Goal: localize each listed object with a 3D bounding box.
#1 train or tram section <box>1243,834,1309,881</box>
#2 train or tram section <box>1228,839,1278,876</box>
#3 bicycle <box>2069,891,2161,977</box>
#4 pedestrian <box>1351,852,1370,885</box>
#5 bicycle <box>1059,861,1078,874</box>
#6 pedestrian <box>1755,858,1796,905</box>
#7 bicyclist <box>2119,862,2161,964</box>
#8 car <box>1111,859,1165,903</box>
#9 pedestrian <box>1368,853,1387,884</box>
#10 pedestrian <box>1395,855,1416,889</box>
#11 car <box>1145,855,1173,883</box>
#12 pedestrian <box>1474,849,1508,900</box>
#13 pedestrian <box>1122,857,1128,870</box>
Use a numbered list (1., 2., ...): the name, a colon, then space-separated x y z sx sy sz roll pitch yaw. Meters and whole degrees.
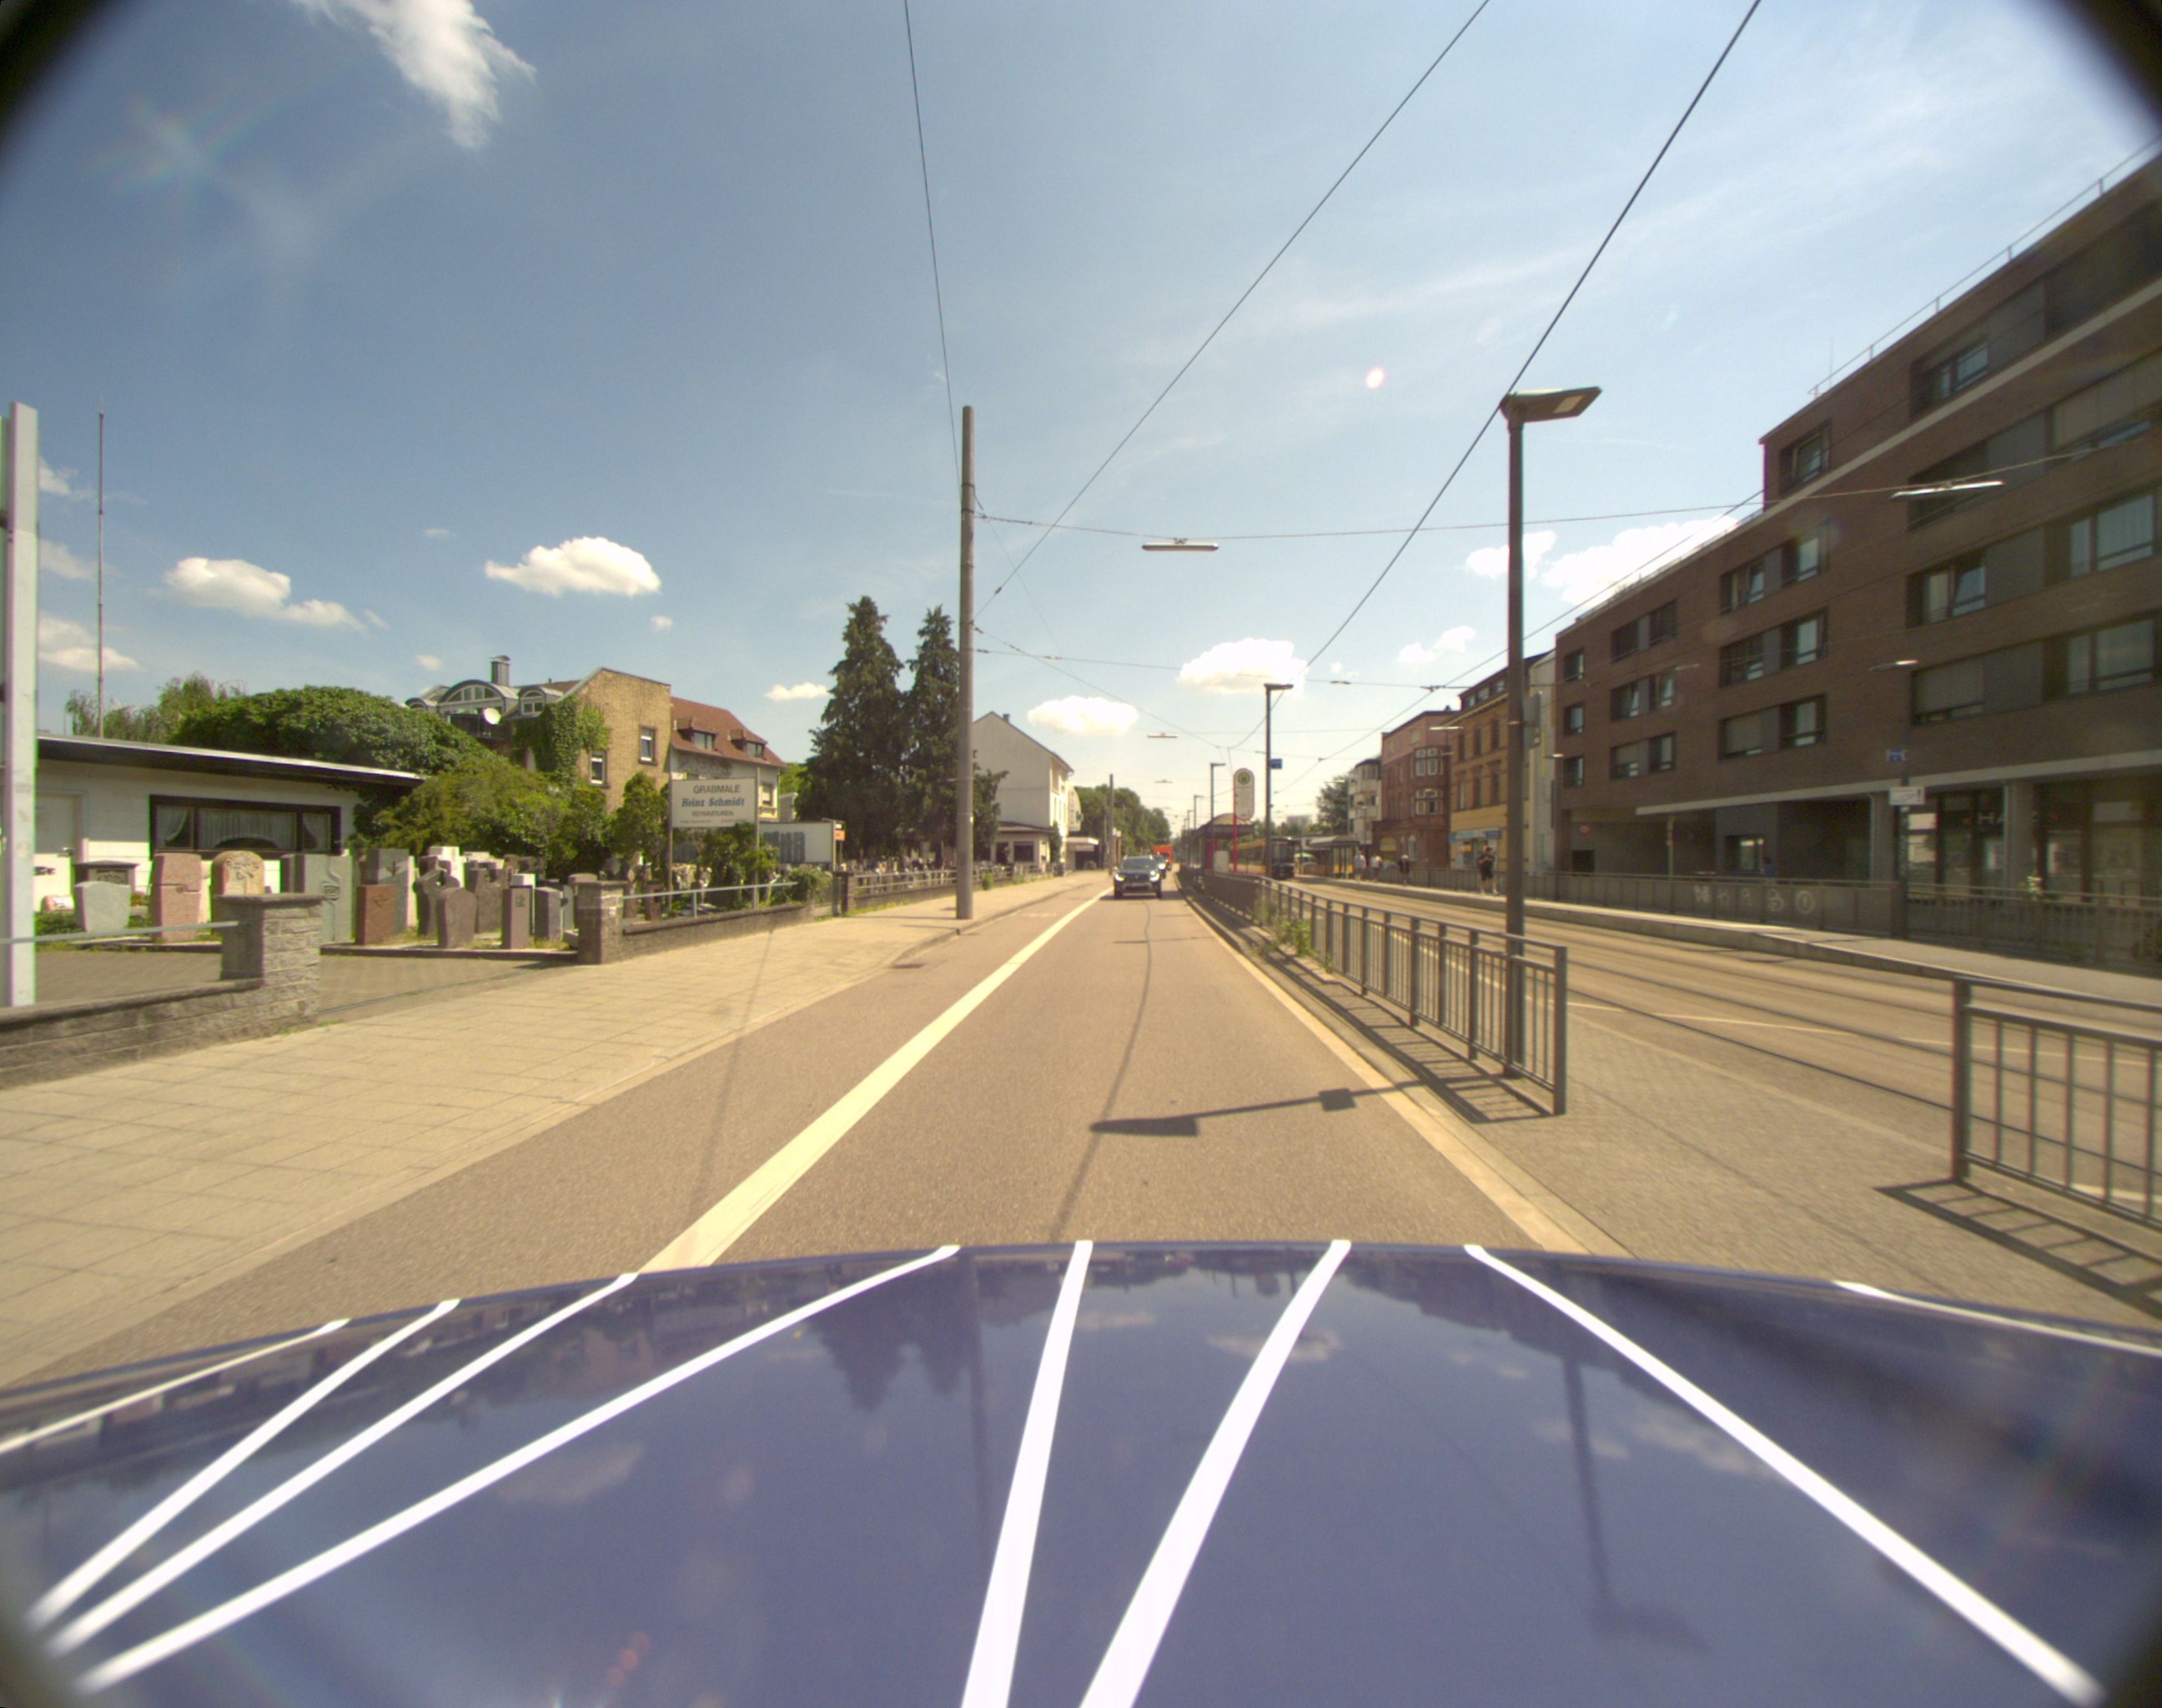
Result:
1. train or tram section: 16.458 0.227 65.513 3.241 3.546 16.357 1 0 7
2. train or tram section: 18.574 0.307 83.641 3.257 3.546 20.511 1 0 7
3. bicycle: 16.349 1.206 11.085 0.818 1.215 2.389 1 0 3
4. pedestrian: 15.644 0.801 42.554 0.761 1.788 0.952 1 0 6
5. bicycle: -1.046 1.146 64.316 1.535 1.080 0.430 2 1 13
6. pedestrian: 23.861 0.936 26.120 0.686 1.586 0.761 1 1 6
7. bicyclist: 16.337 0.872 11.140 0.760 1.495 1.065 0 0 1
8. car: 2.169 0.994 29.805 1.846 1.565 4.487 1 0 1
9. pedestrian: 16.348 0.813 41.907 0.761 1.685 0.809 1 1 6
10. pedestrian: 15.474 0.850 36.244 0.686 1.586 0.761 1 1 6
11. car: 5.878 1.064 57.079 1.997 2.002 4.002 0 0 7
12. pedestrian: 14.361 0.696 26.629 0.686 1.750 1.034 1 0 6
13. pedestrian: 5.559 1.162 95.647 0.563 1.656 0.683 0 0 30
